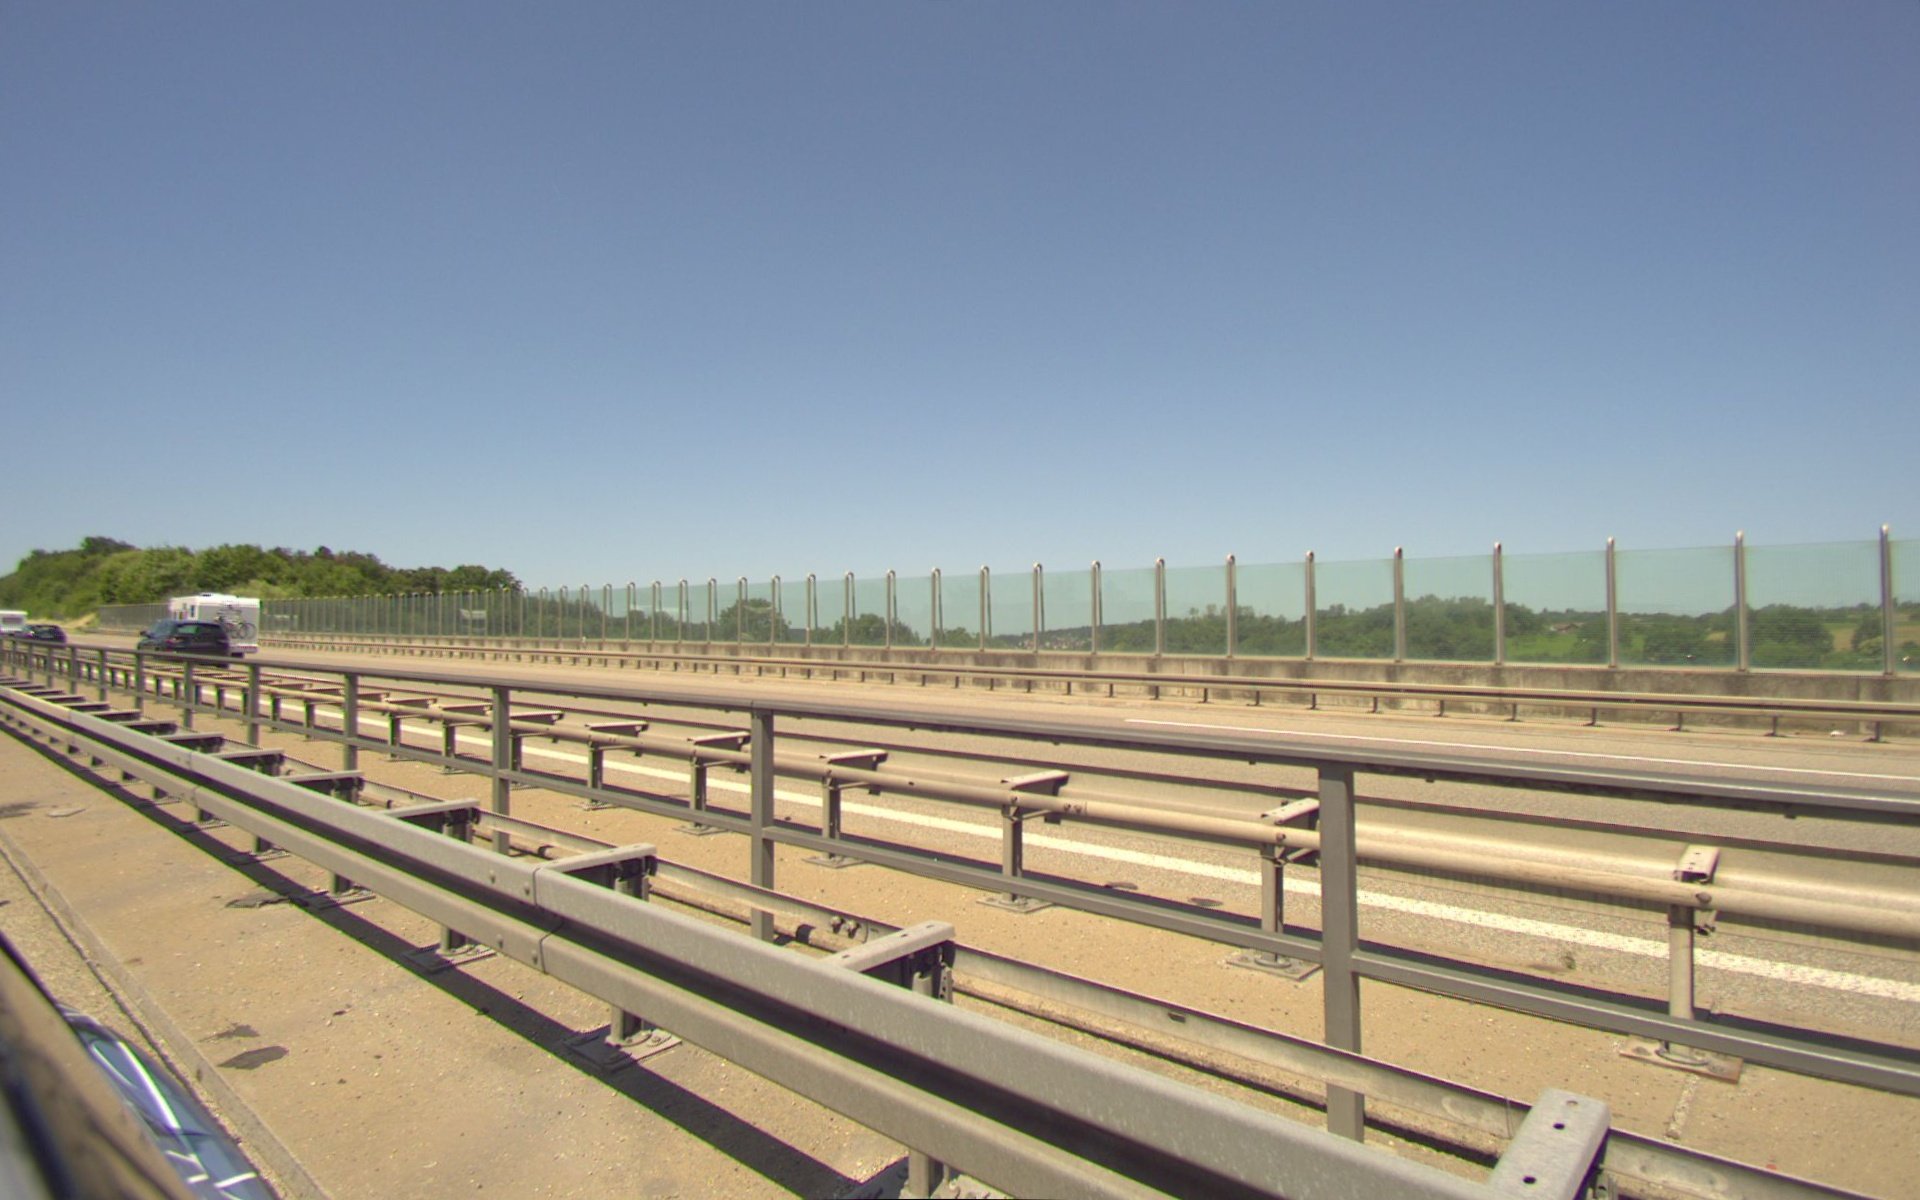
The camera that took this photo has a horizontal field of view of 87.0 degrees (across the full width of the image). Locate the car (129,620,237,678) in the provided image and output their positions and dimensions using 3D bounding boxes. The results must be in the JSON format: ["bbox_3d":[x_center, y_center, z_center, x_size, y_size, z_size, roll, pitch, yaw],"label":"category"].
[{"bbox_3d":[-24.657,1.520,32.079,4.428,1.713,1.847,-2,-3,41],"label":"car"}]

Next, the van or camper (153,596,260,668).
[{"bbox_3d":[-34.404,1.505,46.121,7.023,3.047,2.397,-2,-4,41],"label":"van or camper"}]

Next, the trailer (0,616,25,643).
[{"bbox_3d":[-94.471,2.950,99.868,6.771,2.569,2.467,-2,-4,41],"label":"trailer"}]

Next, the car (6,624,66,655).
[{"bbox_3d":[-50.036,2.148,54.757,4.422,1.543,1.848,-2,-5,41],"label":"car"}]
